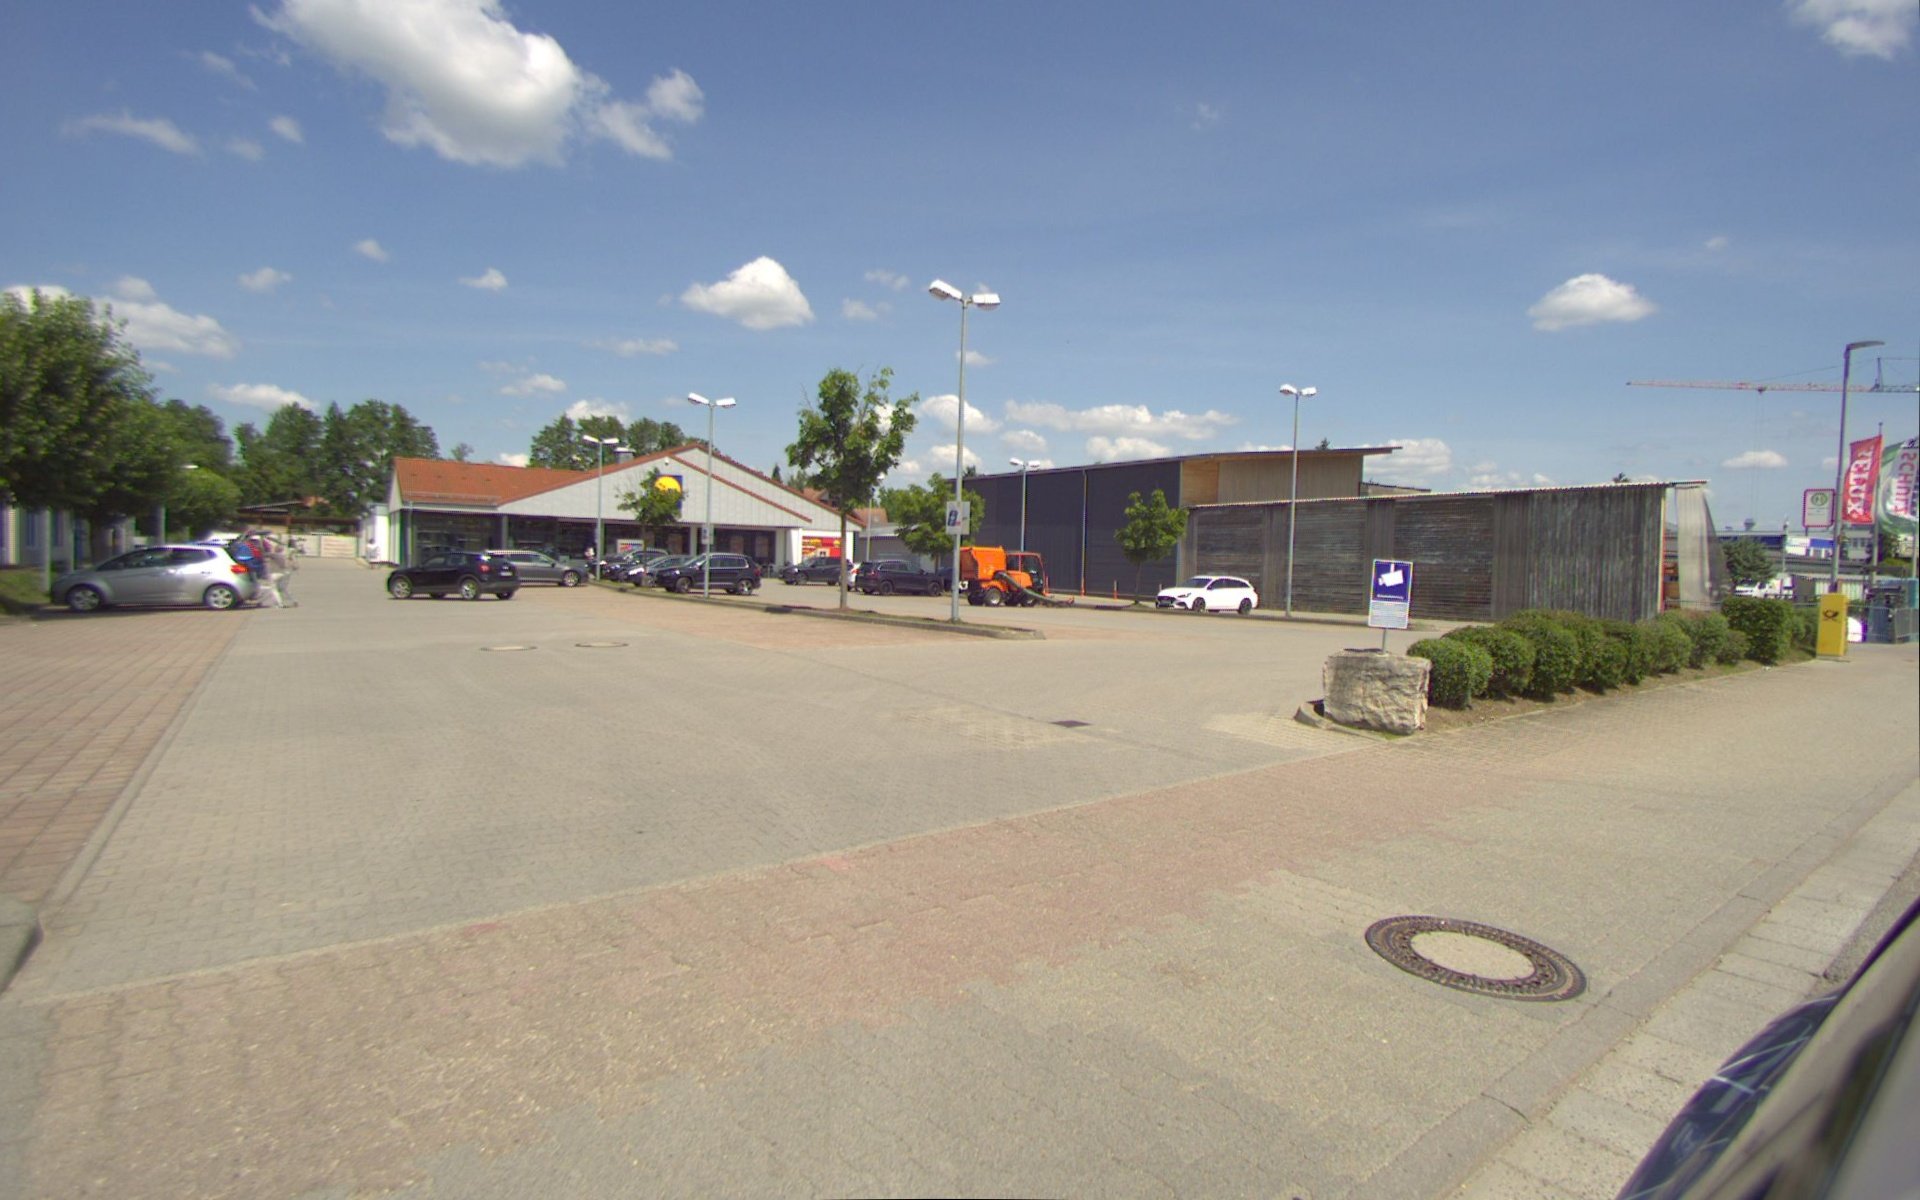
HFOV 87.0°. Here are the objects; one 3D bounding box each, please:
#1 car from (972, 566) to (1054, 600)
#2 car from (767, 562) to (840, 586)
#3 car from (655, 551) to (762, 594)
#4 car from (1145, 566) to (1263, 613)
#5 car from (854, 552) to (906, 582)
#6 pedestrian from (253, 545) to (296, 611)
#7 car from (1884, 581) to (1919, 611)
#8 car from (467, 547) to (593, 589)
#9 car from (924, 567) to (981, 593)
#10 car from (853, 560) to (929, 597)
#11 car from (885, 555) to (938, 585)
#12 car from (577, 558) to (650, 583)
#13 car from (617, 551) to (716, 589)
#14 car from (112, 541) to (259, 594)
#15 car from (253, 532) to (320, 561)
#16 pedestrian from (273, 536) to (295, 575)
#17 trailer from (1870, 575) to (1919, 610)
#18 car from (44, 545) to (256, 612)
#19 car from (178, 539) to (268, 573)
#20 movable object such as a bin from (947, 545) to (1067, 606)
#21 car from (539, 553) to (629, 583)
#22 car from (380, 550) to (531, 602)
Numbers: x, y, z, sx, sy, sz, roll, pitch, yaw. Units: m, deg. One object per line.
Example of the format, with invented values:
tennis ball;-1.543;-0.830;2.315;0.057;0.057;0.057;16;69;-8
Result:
car;2.610;-0.823;49.715;3.926;1.593;1.584;0;2;-38
car;-8.800;-1.452;56.859;3.710;1.187;1.618;1;3;-26
car;-10.191;-1.097;41.059;3.919;1.651;1.587;0;2;-29
car;9.470;-0.414;39.169;4.352;1.682;2.001;1;1;-34
car;-4.632;-1.904;58.446;2.651;1.707;1.301;0;3;-30
pedestrian;-17.535;-0.581;25.899;0.766;1.657;0.733;-2;4;-27
car;58.284;-0.188;60.557;1.771;1.653;4.218;-3;5;-43
car;-17.654;-1.301;41.679;4.533;1.612;1.585;0;2;-37
car;-0.364;-1.061;53.363;1.494;1.325;2.762;2;2;45
car;-3.288;-1.056;48.137;3.273;1.631;1.514;-2;4;-28
car;-2.657;-1.645;55.697;2.621;1.586;1.226;0;3;-36
car;-16.433;-1.395;48.045;2.942;1.138;1.583;0;2;-41
car;-13.062;-1.329;45.133;3.927;1.612;1.584;0;2;-38
car;-27.109;-1.183;35.585;3.911;1.729;1.896;-3;4;-34
car;-49.512;-3.908;74.410;3.927;2.038;1.999;0;2;-38
pedestrian;-37.862;-2.473;56.677;0.897;2.132;0.870;0;2;-41
trailer;60.239;-0.459;63.842;1.965;2.040;3.992;8;-5;-42
car;-19.567;-0.507;24.688;3.823;1.517;1.896;0;2;-32
car;-40.353;-2.437;55.445;3.910;1.789;1.818;-2;3;-38
movable object such as a bin;1.857;-0.951;39.963;4.429;2.231;1.688;1;3;-28
car;-18.770;-1.580;50.592;3.930;1.428;1.583;0;2;-41
car;-15.904;-0.775;31.968;3.940;1.513;1.993;2;2;13
